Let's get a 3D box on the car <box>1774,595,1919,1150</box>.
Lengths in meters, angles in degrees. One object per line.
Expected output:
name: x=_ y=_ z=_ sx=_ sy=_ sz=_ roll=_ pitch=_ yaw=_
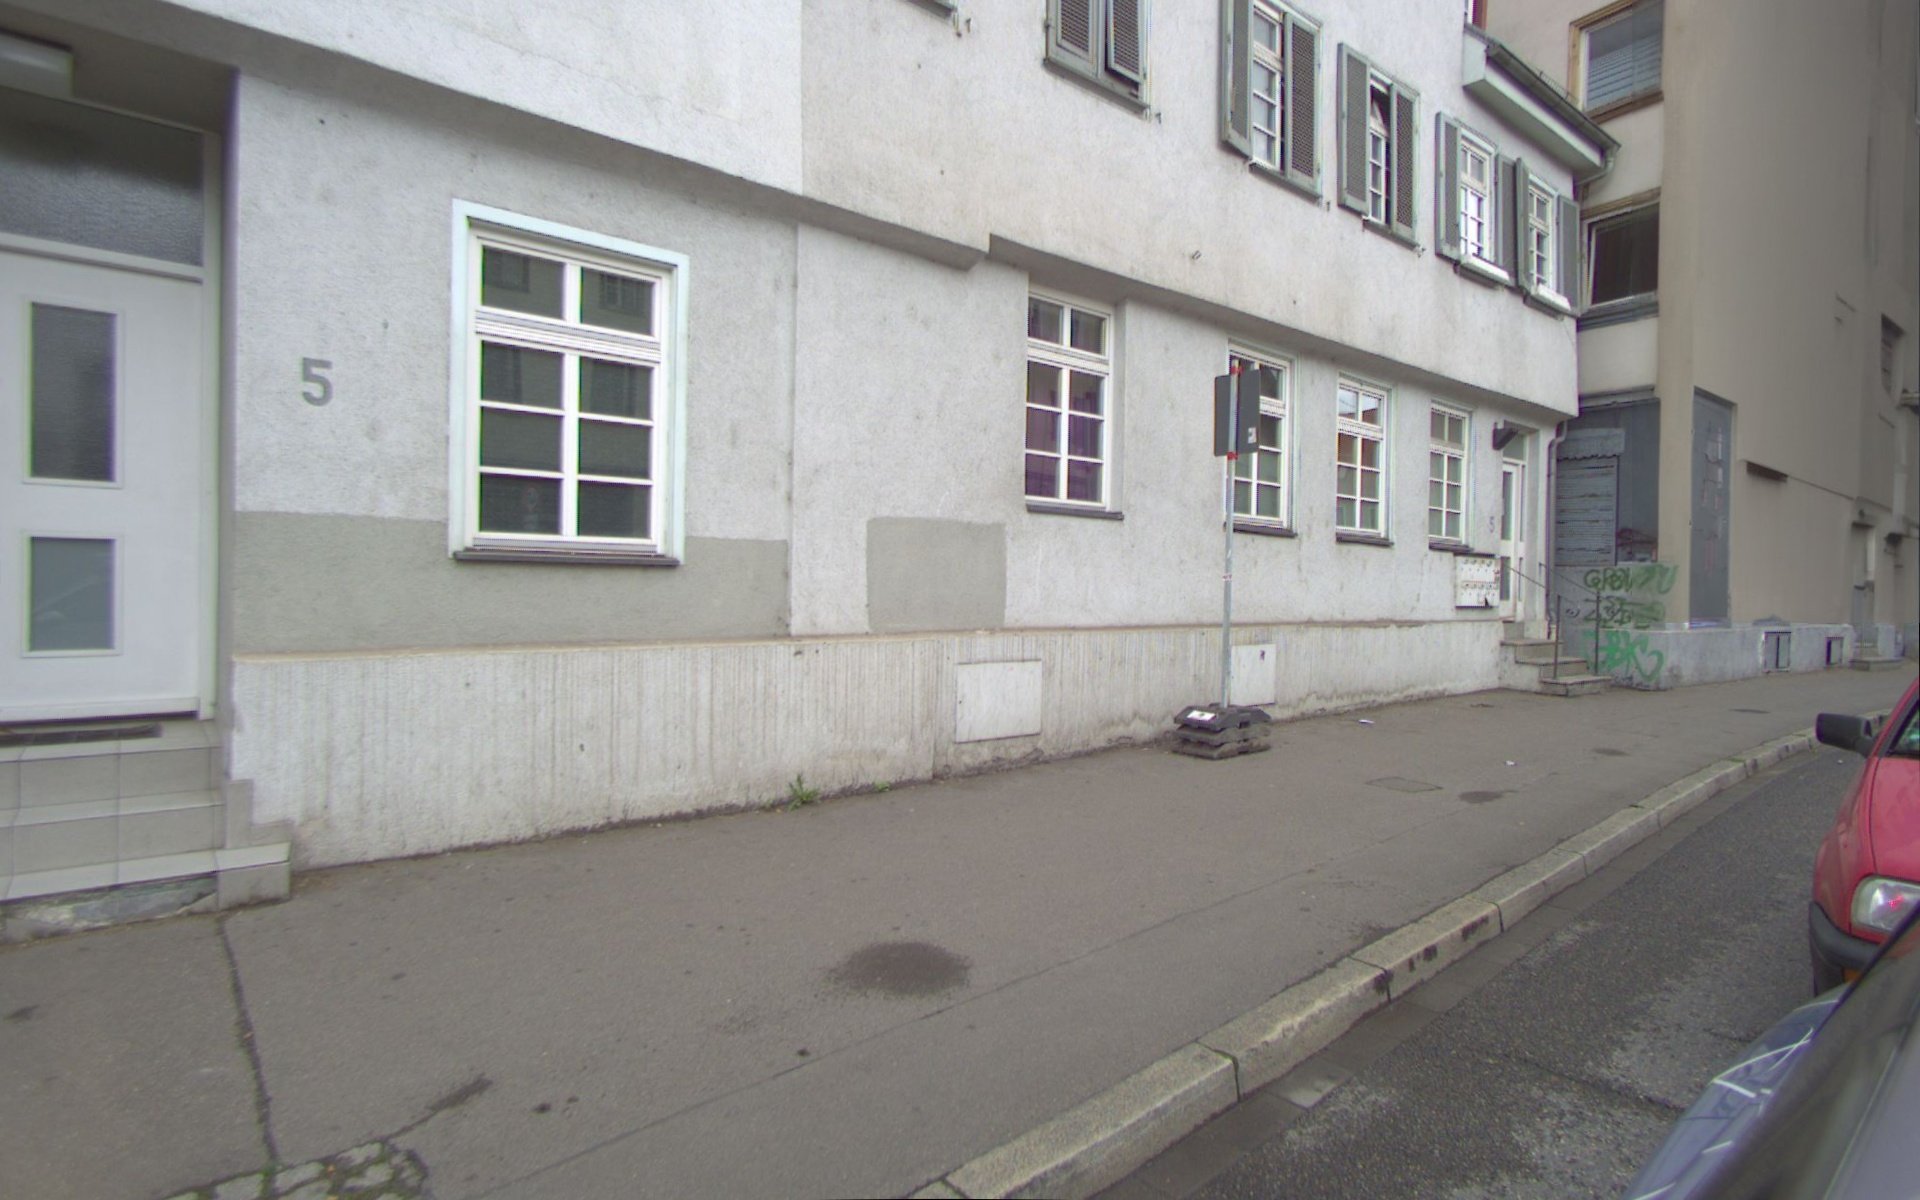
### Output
car: x=4.391 y=0.718 z=3.548 sx=3.931 sy=1.443 sz=1.790 roll=-1 pitch=0 yaw=-42
